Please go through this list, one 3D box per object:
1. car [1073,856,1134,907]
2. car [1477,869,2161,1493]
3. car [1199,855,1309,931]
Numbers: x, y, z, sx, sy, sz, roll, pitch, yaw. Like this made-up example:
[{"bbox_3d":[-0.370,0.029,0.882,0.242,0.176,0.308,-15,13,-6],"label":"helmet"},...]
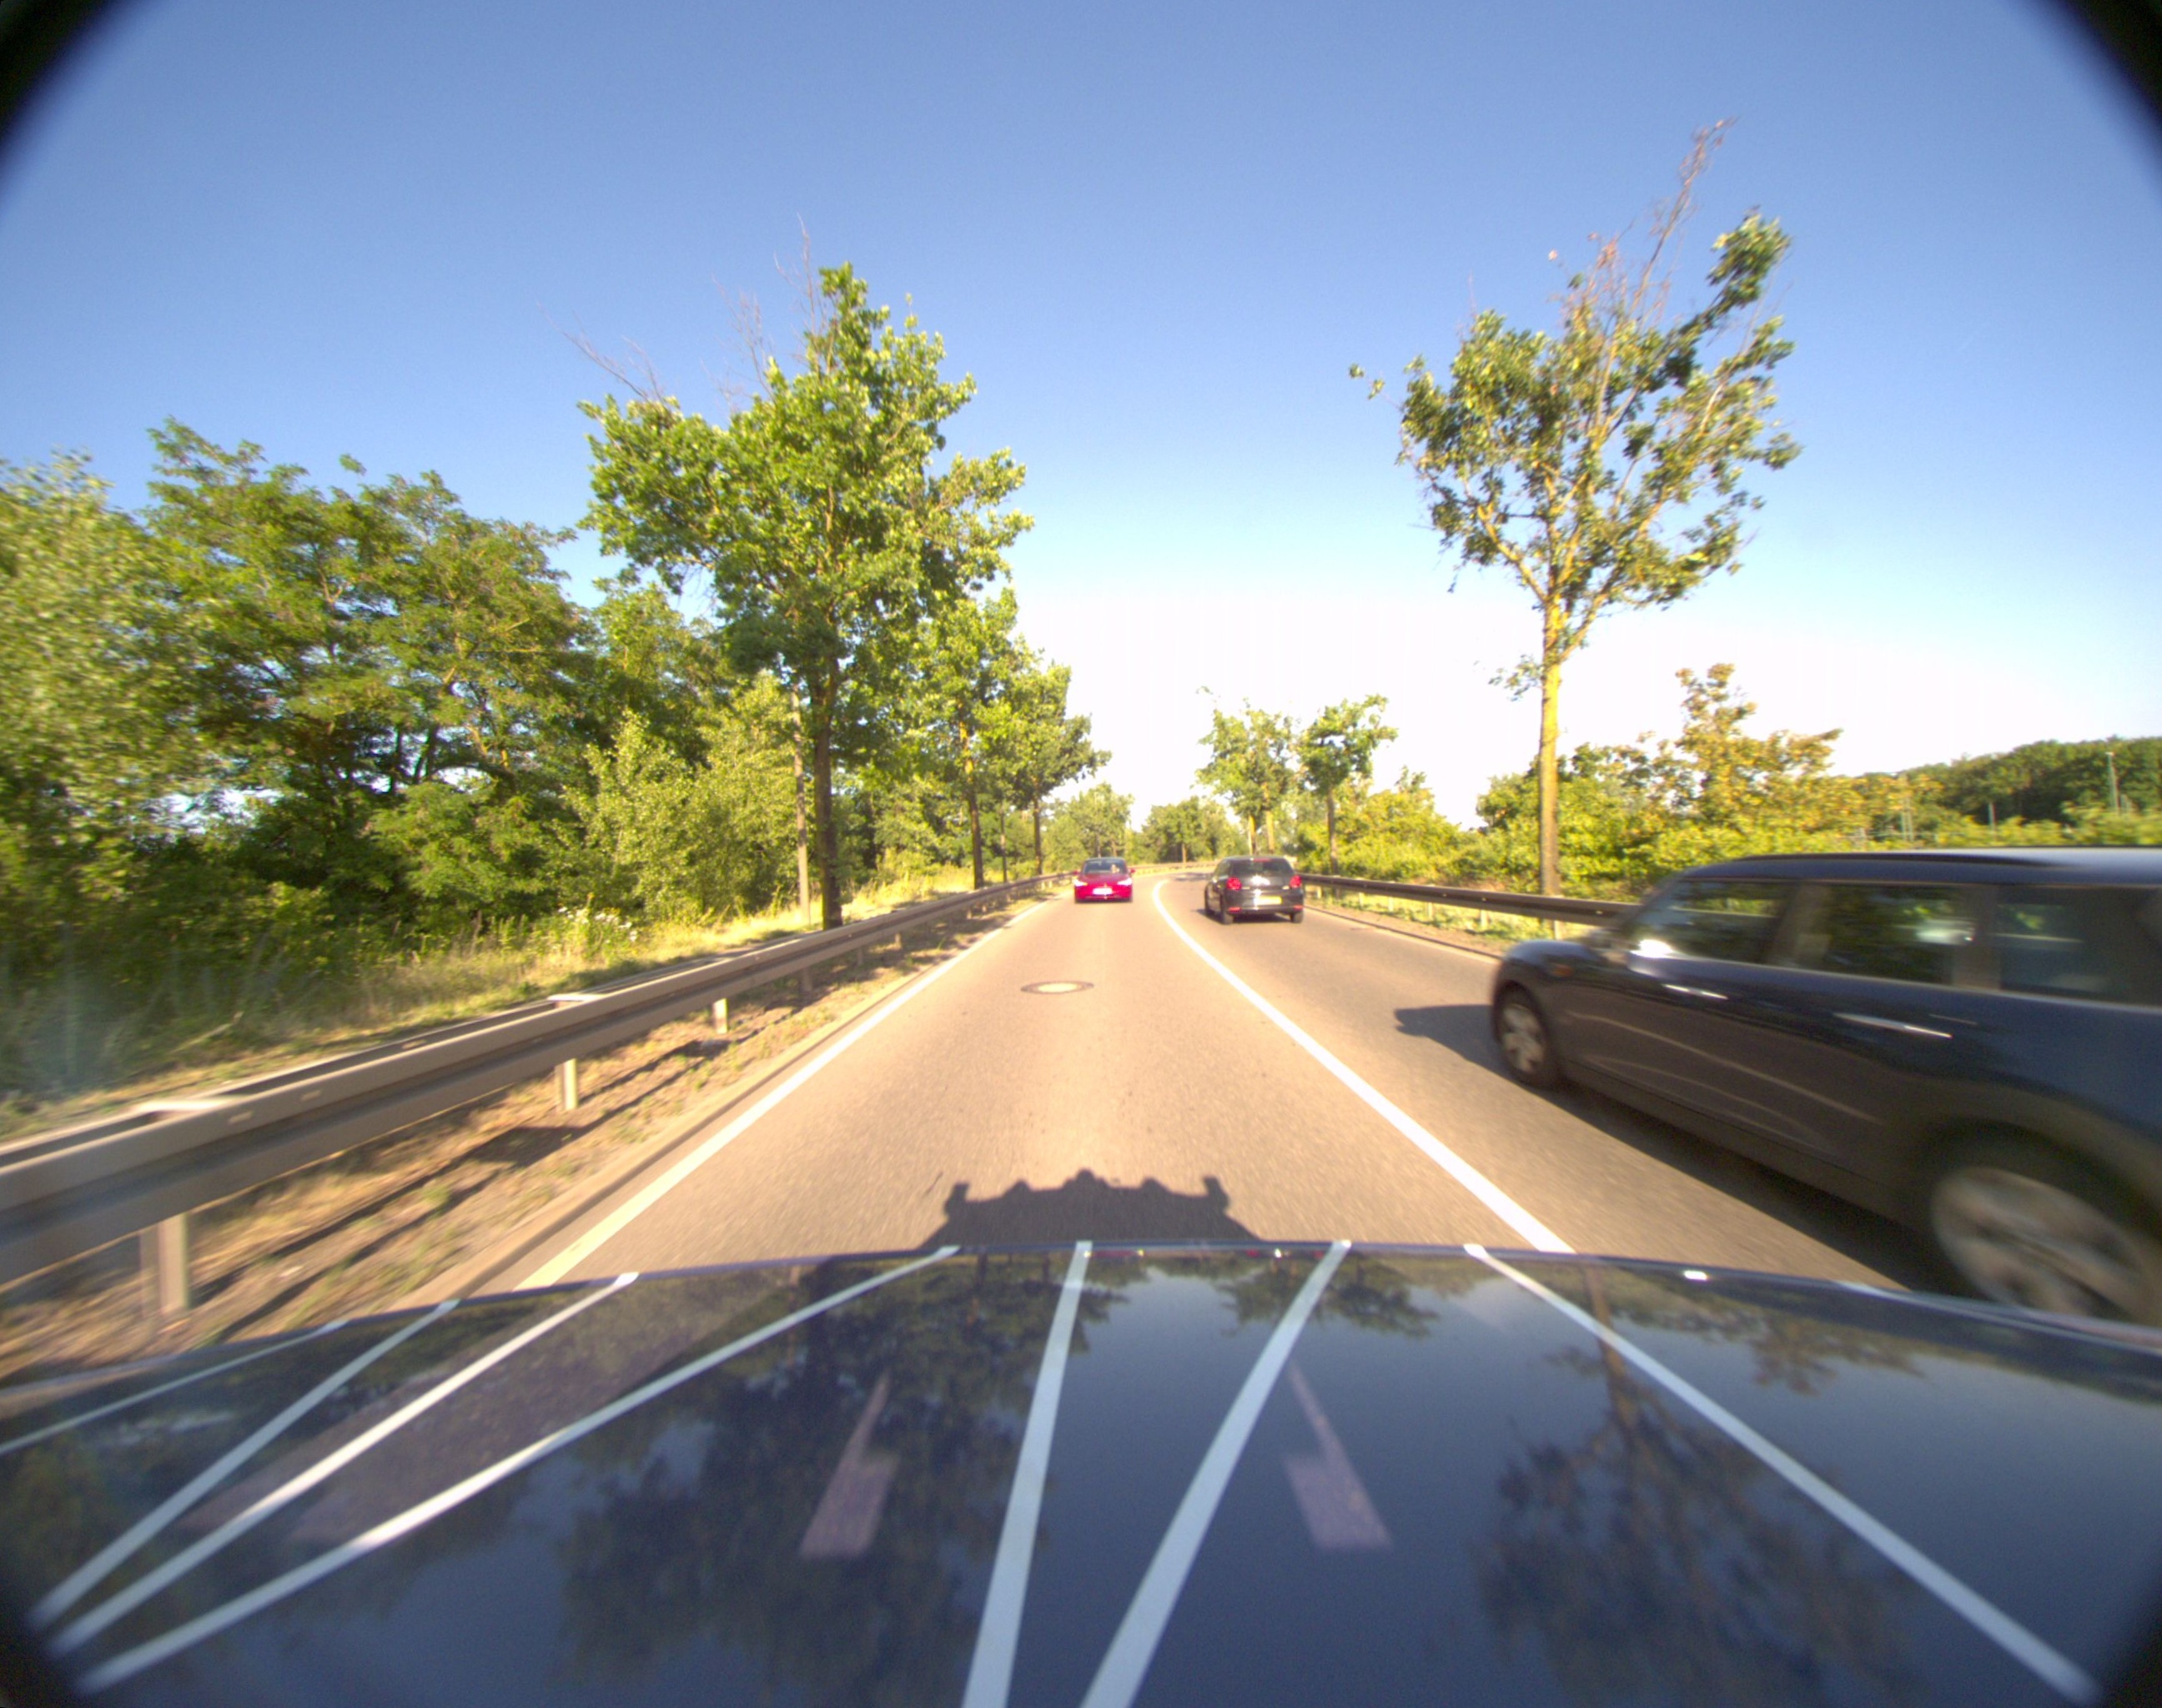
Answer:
[{"bbox_3d":[0.759,0.833,25.085,1.781,1.434,4.359,-2,1,2],"label":"car"},{"bbox_3d":[3.498,0.835,3.185,1.687,1.415,3.859,-2,0,1],"label":"car"},{"bbox_3d":[3.751,0.774,17.091,1.700,1.458,3.859,-2,0,2],"label":"car"}]
